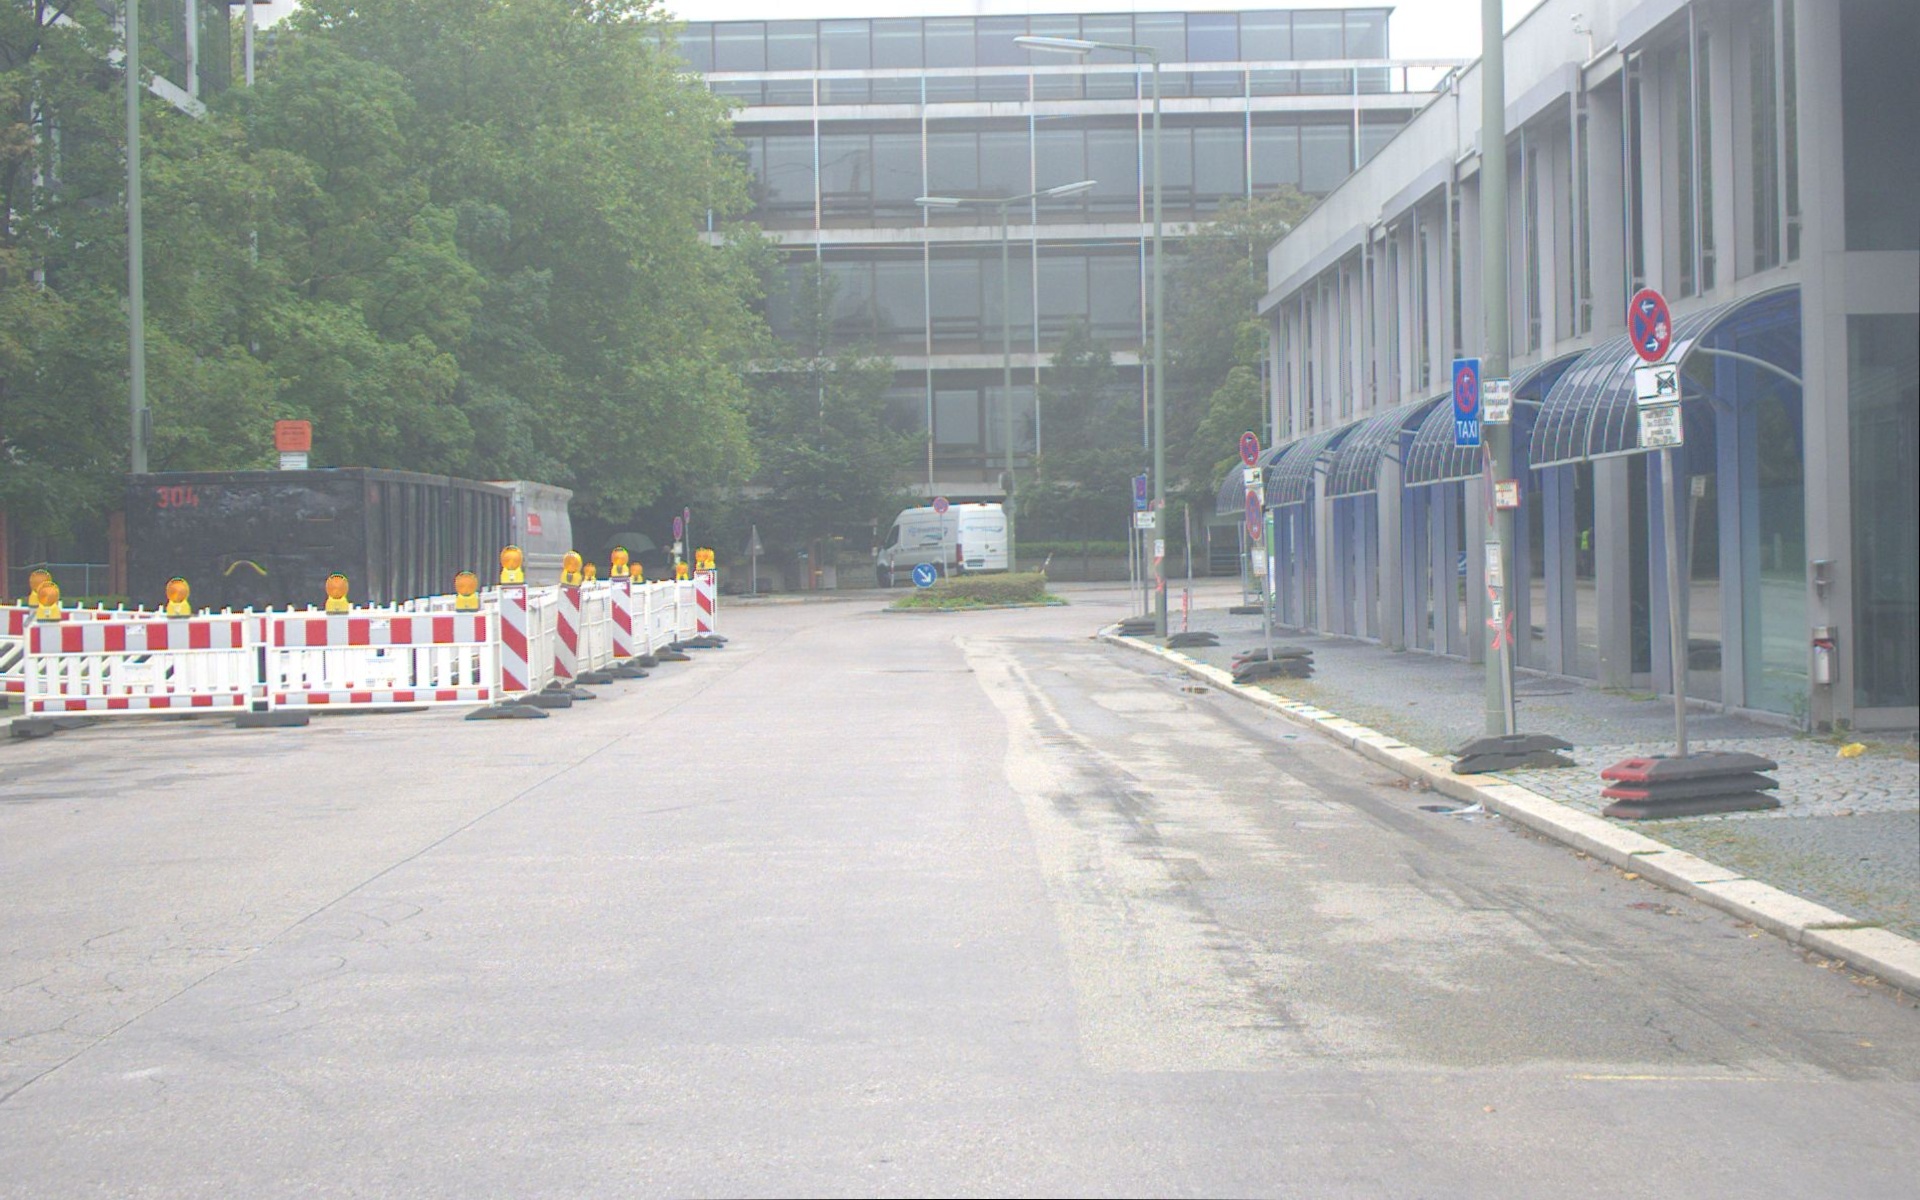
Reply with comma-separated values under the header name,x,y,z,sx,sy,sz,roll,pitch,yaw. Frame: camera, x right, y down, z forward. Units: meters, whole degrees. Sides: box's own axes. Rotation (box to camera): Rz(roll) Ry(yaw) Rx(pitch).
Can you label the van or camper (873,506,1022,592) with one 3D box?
name,x,y,z,sx,sy,sz,roll,pitch,yaw
van or camper,-0.457,-1.622,111.381,2.155,2.572,6.540,-1,-1,-26
